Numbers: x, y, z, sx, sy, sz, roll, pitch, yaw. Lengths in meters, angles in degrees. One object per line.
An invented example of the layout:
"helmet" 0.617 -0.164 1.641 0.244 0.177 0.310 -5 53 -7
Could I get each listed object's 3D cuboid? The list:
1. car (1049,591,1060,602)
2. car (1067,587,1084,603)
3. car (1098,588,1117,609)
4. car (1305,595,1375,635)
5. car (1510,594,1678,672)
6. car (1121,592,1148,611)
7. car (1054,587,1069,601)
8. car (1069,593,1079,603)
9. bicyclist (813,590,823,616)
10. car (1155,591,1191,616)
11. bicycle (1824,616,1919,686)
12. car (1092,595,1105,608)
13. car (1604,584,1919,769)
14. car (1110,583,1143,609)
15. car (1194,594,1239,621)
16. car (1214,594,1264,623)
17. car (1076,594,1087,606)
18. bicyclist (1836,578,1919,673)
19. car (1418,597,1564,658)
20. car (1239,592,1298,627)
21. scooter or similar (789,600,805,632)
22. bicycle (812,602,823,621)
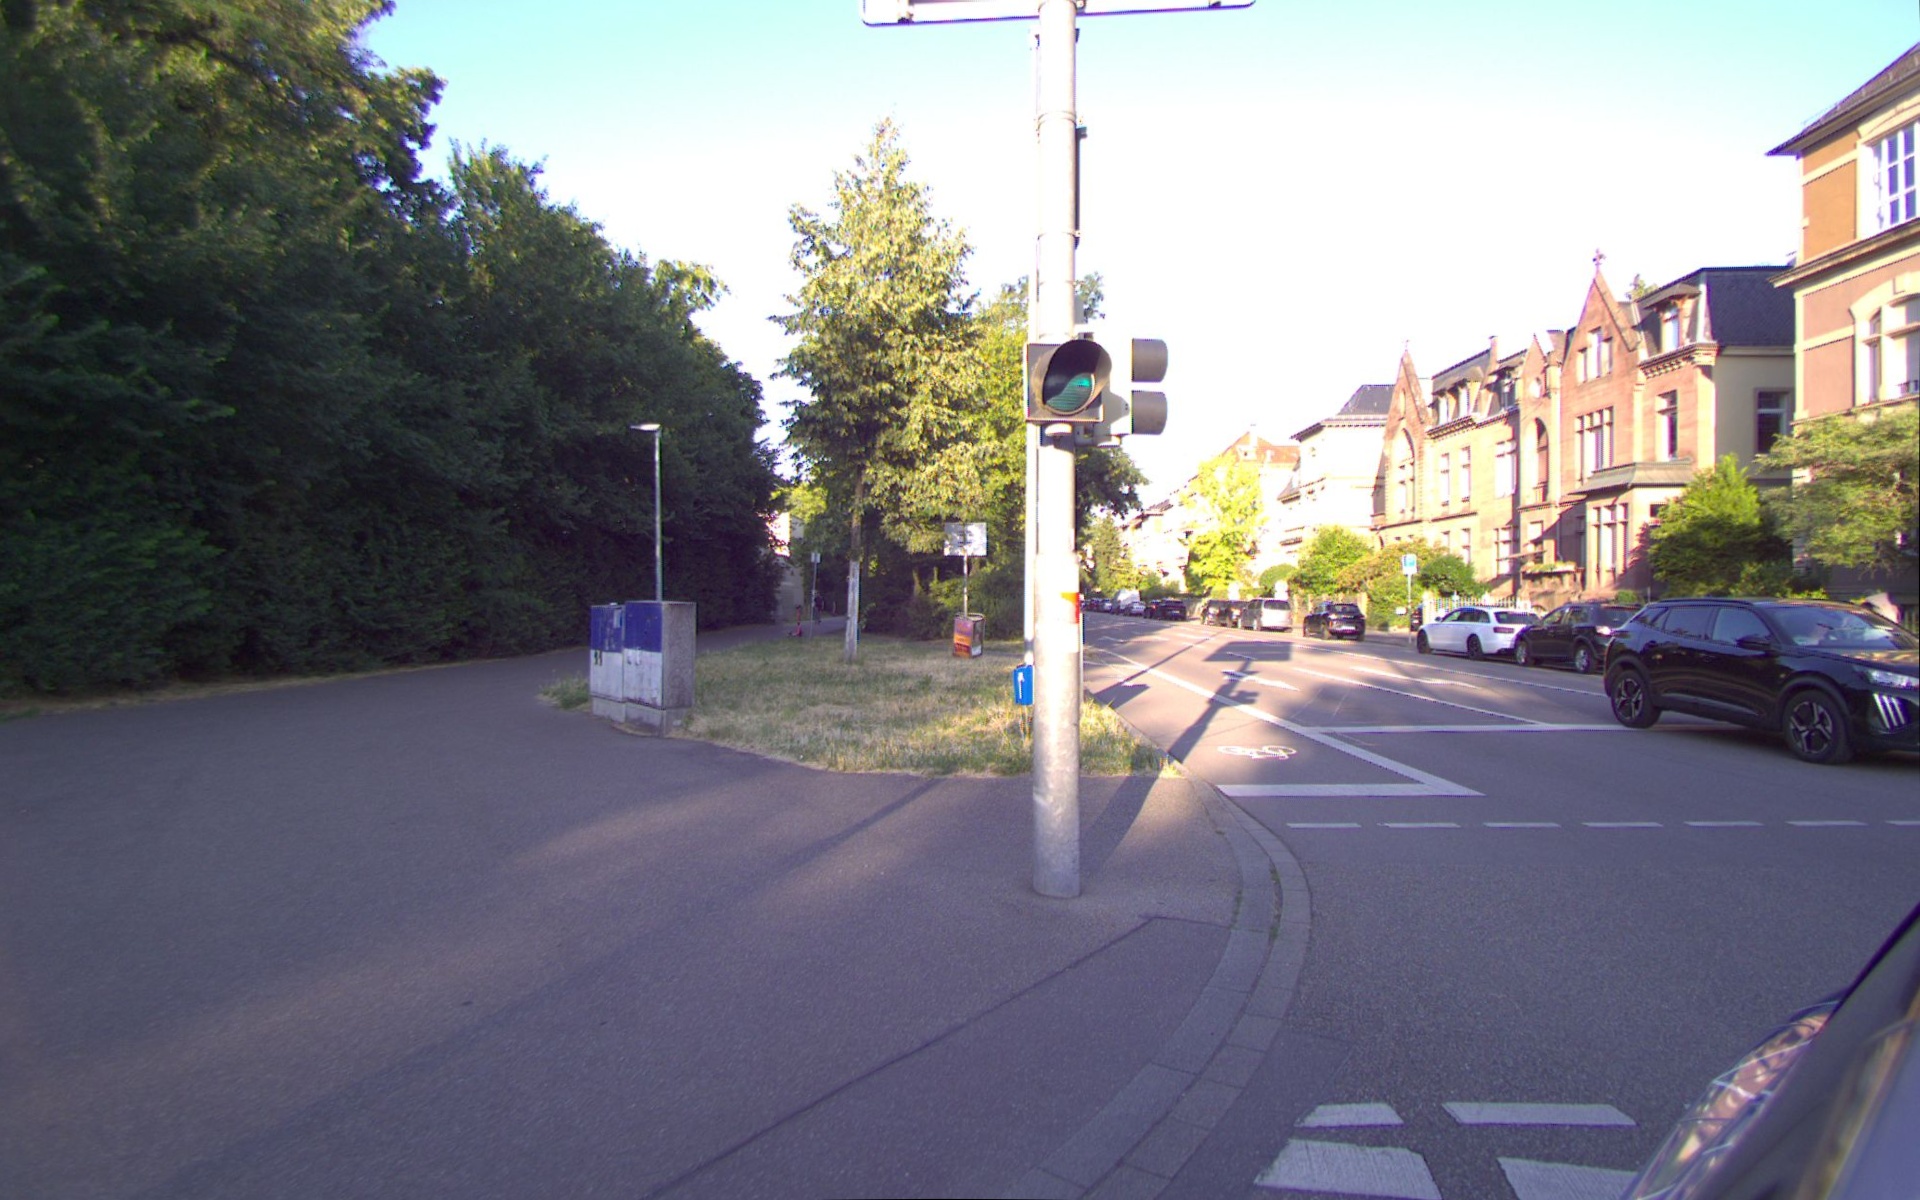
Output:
"car" 17.614 -0.718 188.720 1.963 2.039 3.997 -2 0 3
"car" 16.887 -0.761 148.349 2.164 2.242 4.525 1 0 2
"car" 16.015 -0.171 109.955 1.543 2.294 3.798 0 0 2
"car" 15.013 0.565 40.171 1.603 1.463 3.563 1 0 3
"car" 14.431 0.691 23.288 1.603 1.554 3.719 3 0 3
"car" 15.686 0.134 90.999 1.684 1.625 3.855 1 0 -2
"car" 17.362 -1.020 172.988 1.962 2.488 5.579 0 0 0
"car" 16.074 -0.266 143.006 1.199 1.456 2.514 1 0 2
"bicyclist" -7.689 0.162 54.703 0.486 1.435 0.568 0 0 -3
"car" 15.446 0.245 73.530 1.847 1.625 3.723 1 3 2
"bicycle" 16.478 0.872 17.971 0.648 1.103 1.902 -2 0 2
"car" 16.291 0.159 119.022 1.303 1.456 2.696 1 0 2
"car" 8.775 0.636 10.517 1.652 1.555 3.999 0 0 1
"car" 15.986 -0.362 97.701 2.190 2.399 5.878 1 0 0
"car" 14.964 0.407 59.173 1.684 1.468 3.723 1 0 0
"car" 15.009 0.425 54.607 1.684 1.468 3.723 1 0 0
"car" 15.835 -0.006 132.443 1.199 1.456 2.514 1 0 2
"bicyclist" 16.475 0.438 18.175 0.641 1.653 0.914 -2 0 2
"car" 14.424 0.693 27.793 1.579 1.461 4.433 3 0 -1
"car" 15.021 0.431 49.489 1.684 1.609 3.753 1 0 0
"scooter or similar" -5.727 0.545 35.535 0.191 1.100 0.832 -2 -1 16
"bicycle" -7.686 0.617 54.653 0.492 1.027 1.528 0 0 -3
